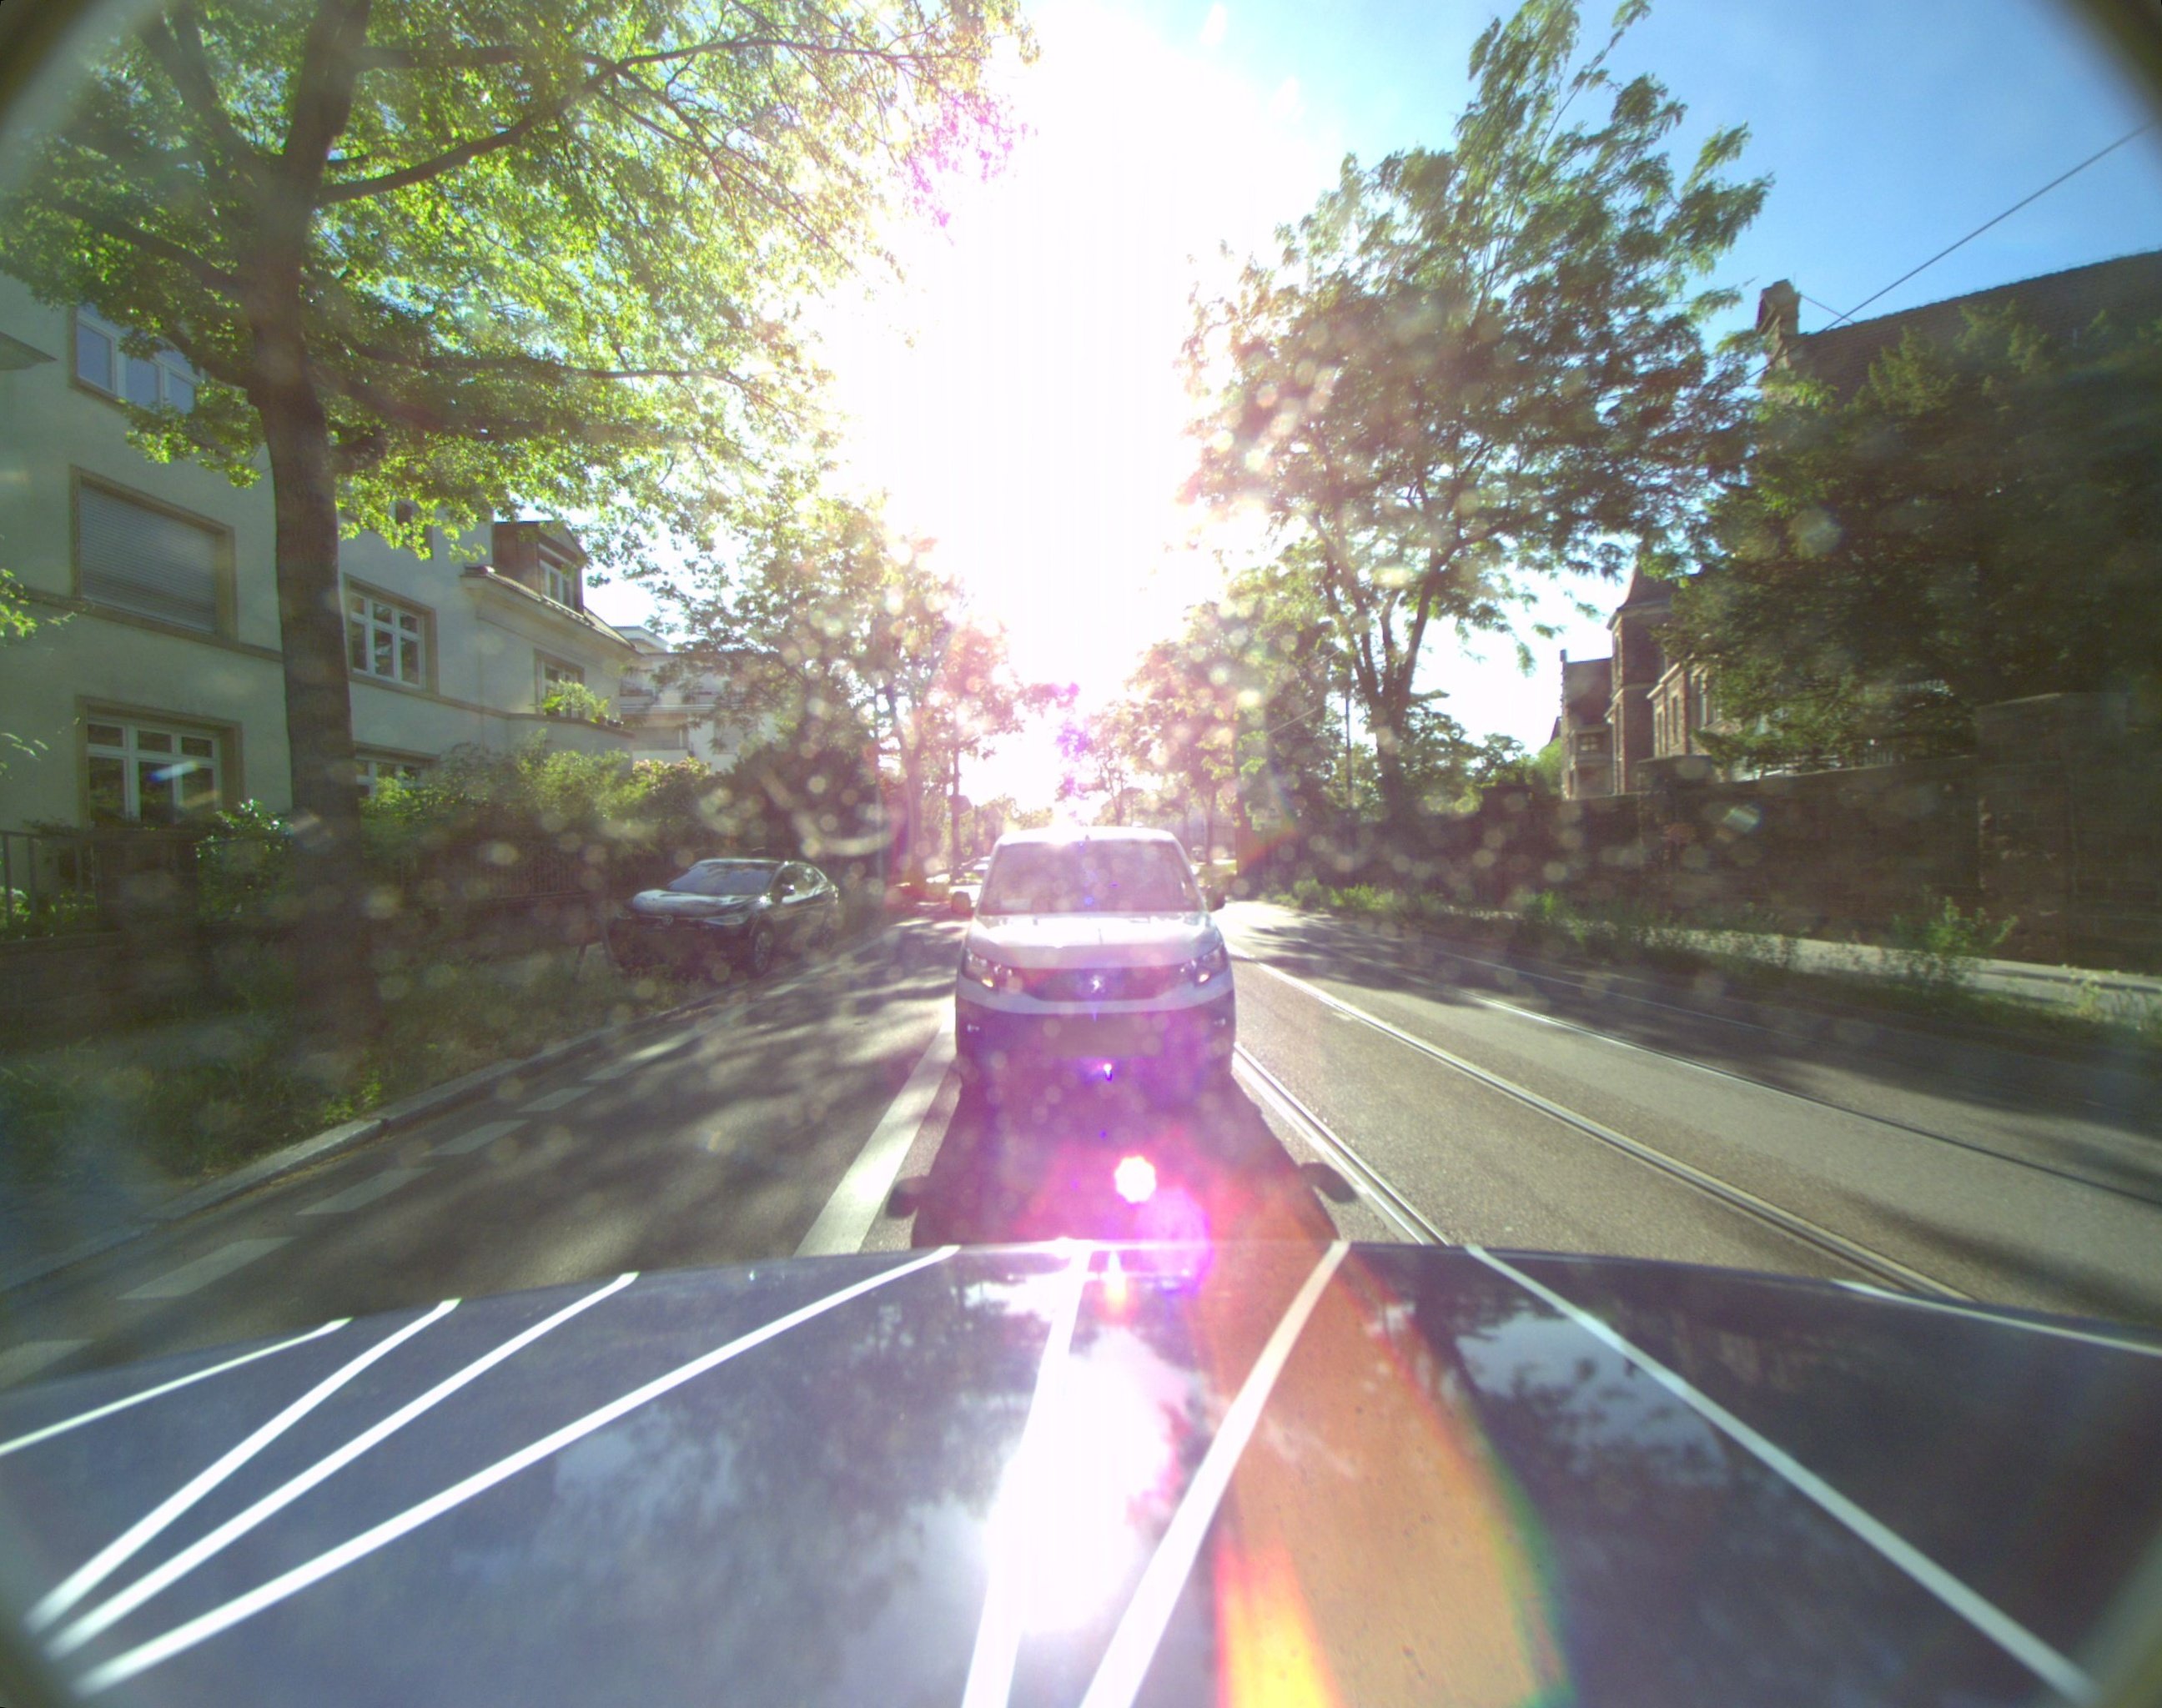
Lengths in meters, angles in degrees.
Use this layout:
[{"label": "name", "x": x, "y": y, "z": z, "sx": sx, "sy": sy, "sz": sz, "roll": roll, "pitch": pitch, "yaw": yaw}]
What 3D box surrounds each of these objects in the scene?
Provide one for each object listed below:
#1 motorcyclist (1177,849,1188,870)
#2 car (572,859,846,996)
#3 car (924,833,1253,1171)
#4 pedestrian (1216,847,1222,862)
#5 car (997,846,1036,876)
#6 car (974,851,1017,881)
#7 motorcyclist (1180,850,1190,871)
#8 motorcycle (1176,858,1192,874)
[{"label": "motorcyclist", "x": 7.240, "y": 0.390, "z": 54.084, "sx": 0.686, "sy": 1.432, "sz": 0.446, "roll": -2, "pitch": 1, "yaw": -6}, {"label": "car", "x": -5.255, "y": 0.934, "z": 11.540, "sx": 1.999, "sy": 1.665, "sz": 4.380, "roll": 1, "pitch": -1, "yaw": 0}, {"label": "car", "x": 0.035, "y": 0.799, "z": 6.127, "sx": 1.768, "sy": 1.812, "sz": 3.999, "roll": -1, "pitch": 0, "yaw": 0}, {"label": "pedestrian", "x": 22.278, "y": 0.021, "z": 122.731, "sx": 0.767, "sy": 2.353, "sz": 0.927, "roll": -2, "pitch": 1, "yaw": 17}, {"label": "car", "x": -4.334, "y": 0.453, "z": 51.946, "sx": 2.129, "sy": 1.884, "sz": 4.746, "roll": -2, "pitch": 0, "yaw": 1}, {"label": "car", "x": -5.047, "y": 0.666, "z": 45.213, "sx": 1.823, "sy": 1.630, "sz": 4.001, "roll": -2, "pitch": 0, "yaw": 4}, {"label": "motorcyclist", "x": 7.330, "y": 0.453, "z": 53.572, "sx": 0.608, "sy": 1.507, "sz": 0.465, "roll": -2, "pitch": 1, "yaw": -8}, {"label": "motorcycle", "x": 7.299, "y": 0.815, "z": 53.903, "sx": 0.611, "sy": 1.087, "sz": 1.855, "roll": -2, "pitch": 0, "yaw": -7}]
